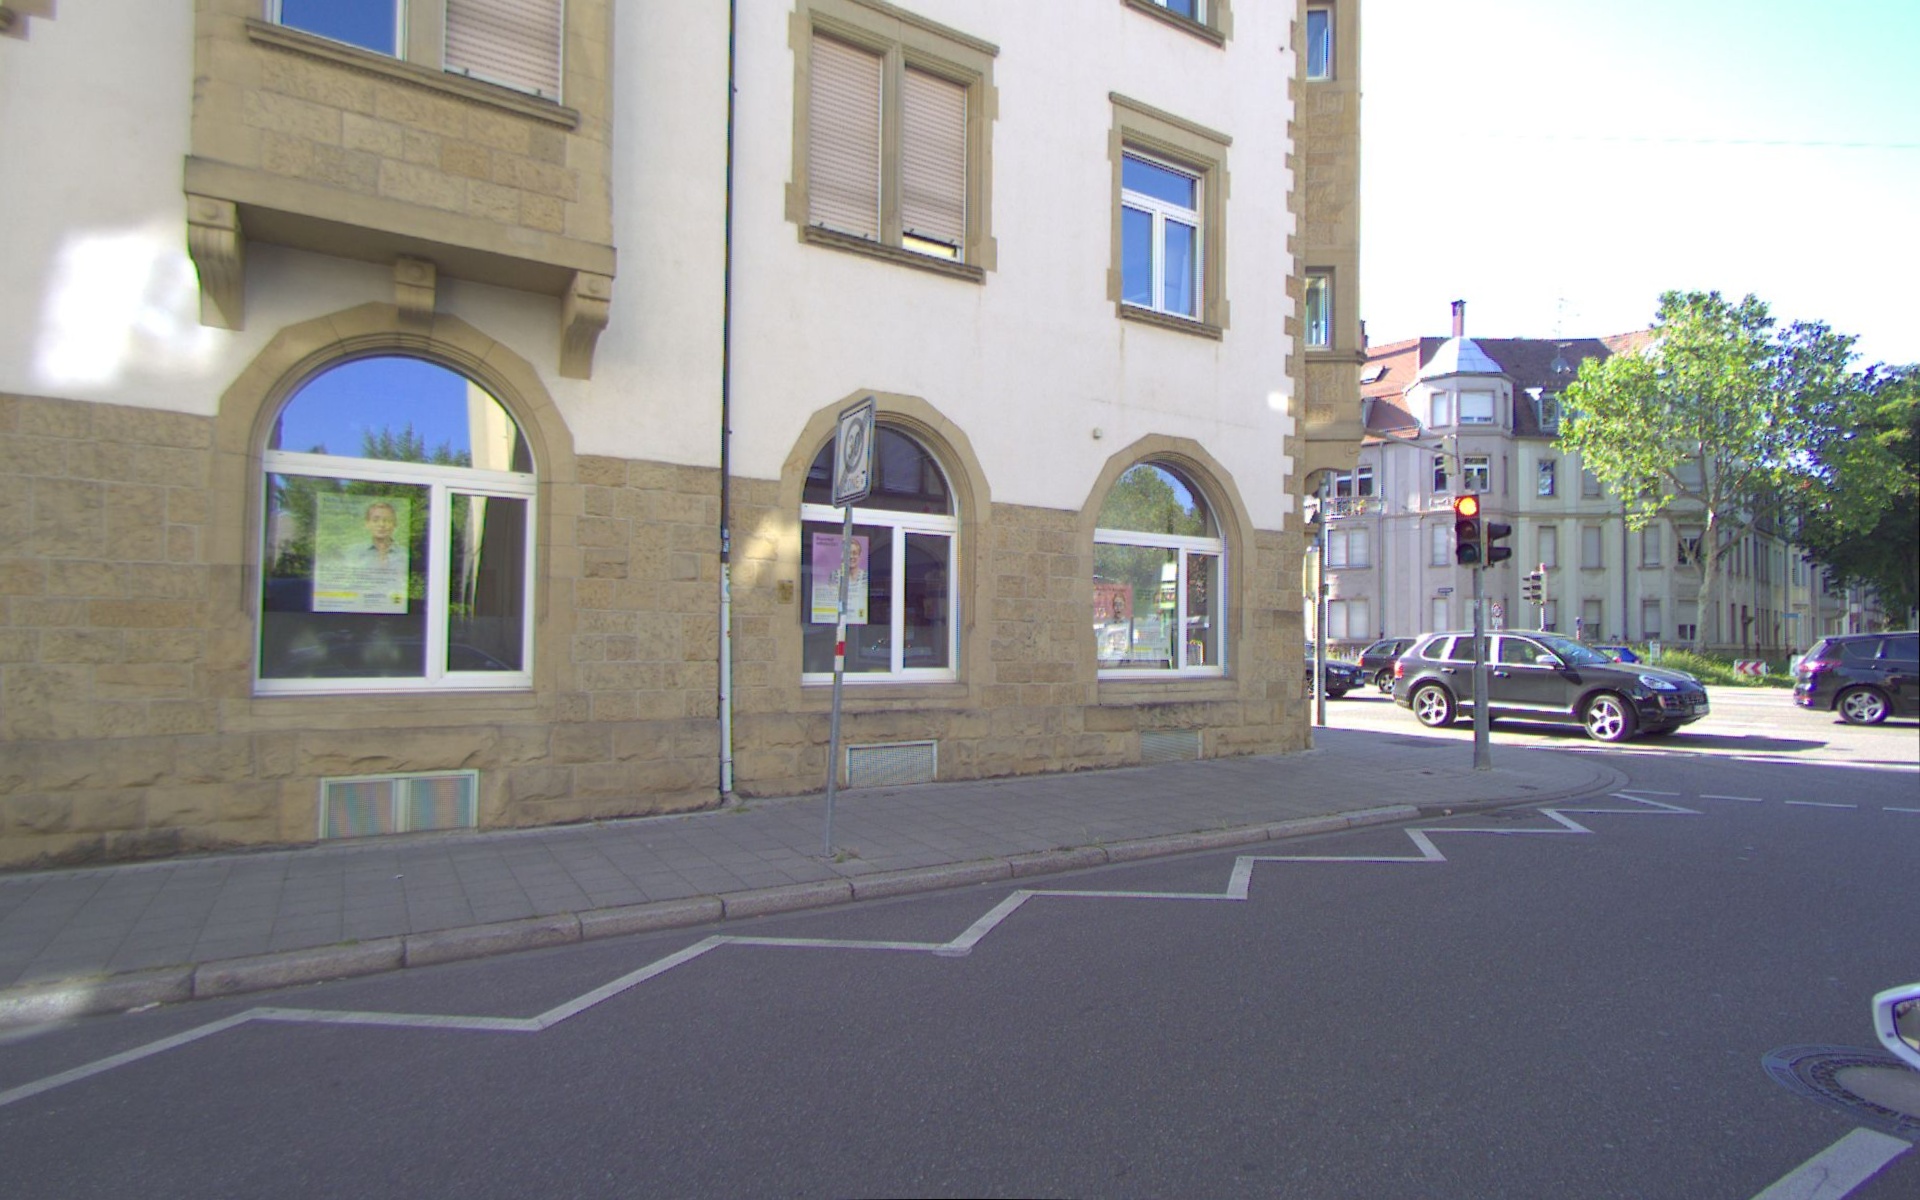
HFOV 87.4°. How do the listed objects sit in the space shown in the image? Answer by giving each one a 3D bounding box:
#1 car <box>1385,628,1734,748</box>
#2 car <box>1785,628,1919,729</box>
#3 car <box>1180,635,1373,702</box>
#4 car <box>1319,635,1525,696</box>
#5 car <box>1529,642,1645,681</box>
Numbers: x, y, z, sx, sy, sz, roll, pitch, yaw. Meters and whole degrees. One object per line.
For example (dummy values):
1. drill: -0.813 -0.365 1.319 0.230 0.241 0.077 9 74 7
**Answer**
1. car: 9.911 1.351 16.985 2.059 1.716 4.662 2 -2 -35
2. car: 17.063 1.327 17.015 1.719 1.686 4.614 2 -3 -45
3. car: 8.115 1.704 26.081 1.717 1.476 4.577 2 -1 -41
4. car: 12.108 1.676 26.580 1.967 1.475 4.576 2 -3 -42
5. car: 24.861 2.410 39.888 3.736 1.419 1.639 -1 -2 40
